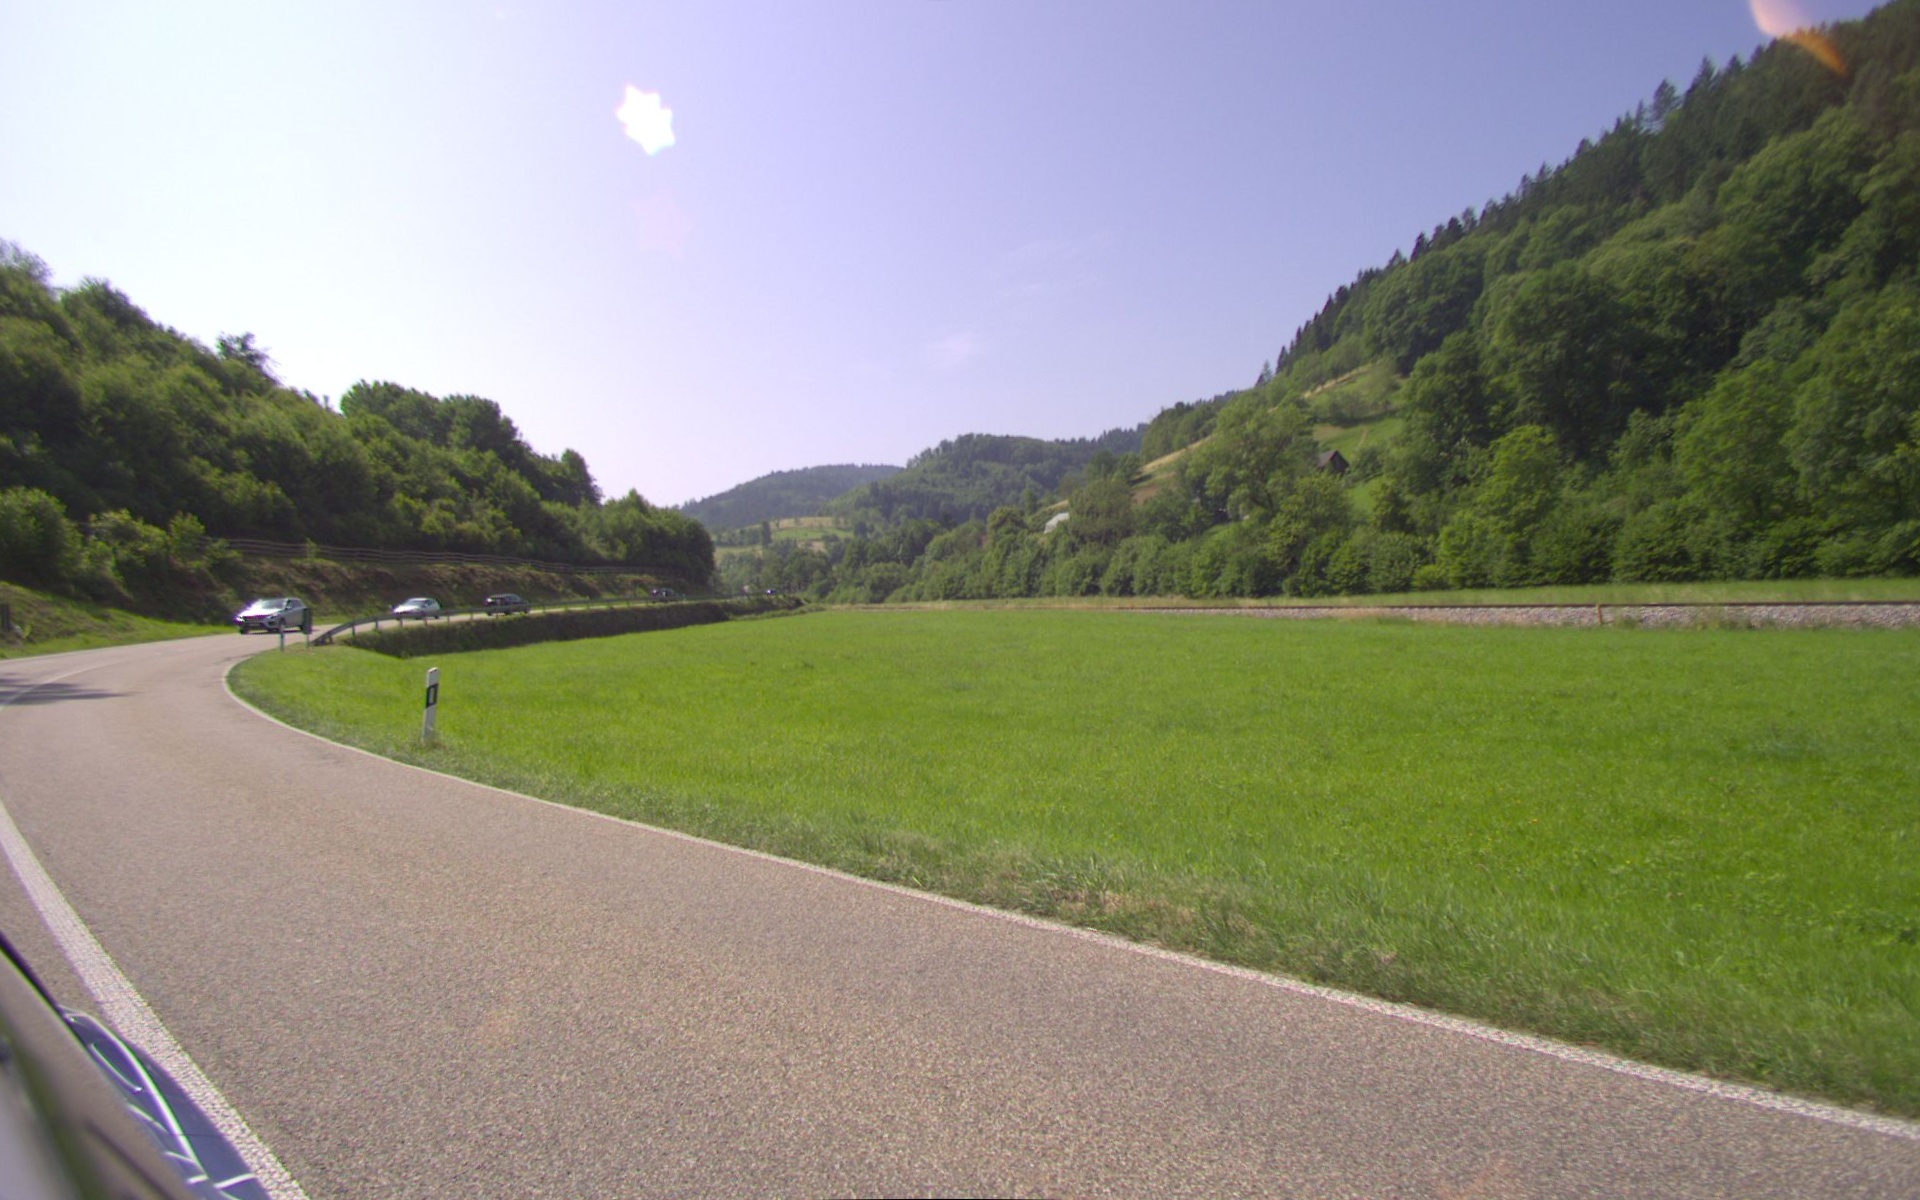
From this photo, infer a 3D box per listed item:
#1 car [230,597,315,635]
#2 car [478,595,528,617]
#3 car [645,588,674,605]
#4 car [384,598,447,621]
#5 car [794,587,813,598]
[{"bbox_3d":[-35.946,0.846,53.085,2.084,1.828,4.465,-2,-1,-11],"label":"car"},{"bbox_3d":[-35.369,0.451,78.424,1.855,1.599,4.596,-2,-1,-1],"label":"car"},{"bbox_3d":[-32.345,-0.347,109.183,1.927,1.753,4.899,-1,0,-3],"label":"car"},{"bbox_3d":[-38.053,0.693,70.853,2.116,1.502,4.675,-1,0,-3],"label":"car"},{"bbox_3d":[-24.871,-1.174,160.862,1.695,1.688,3.986,-2,0,11],"label":"car"}]
